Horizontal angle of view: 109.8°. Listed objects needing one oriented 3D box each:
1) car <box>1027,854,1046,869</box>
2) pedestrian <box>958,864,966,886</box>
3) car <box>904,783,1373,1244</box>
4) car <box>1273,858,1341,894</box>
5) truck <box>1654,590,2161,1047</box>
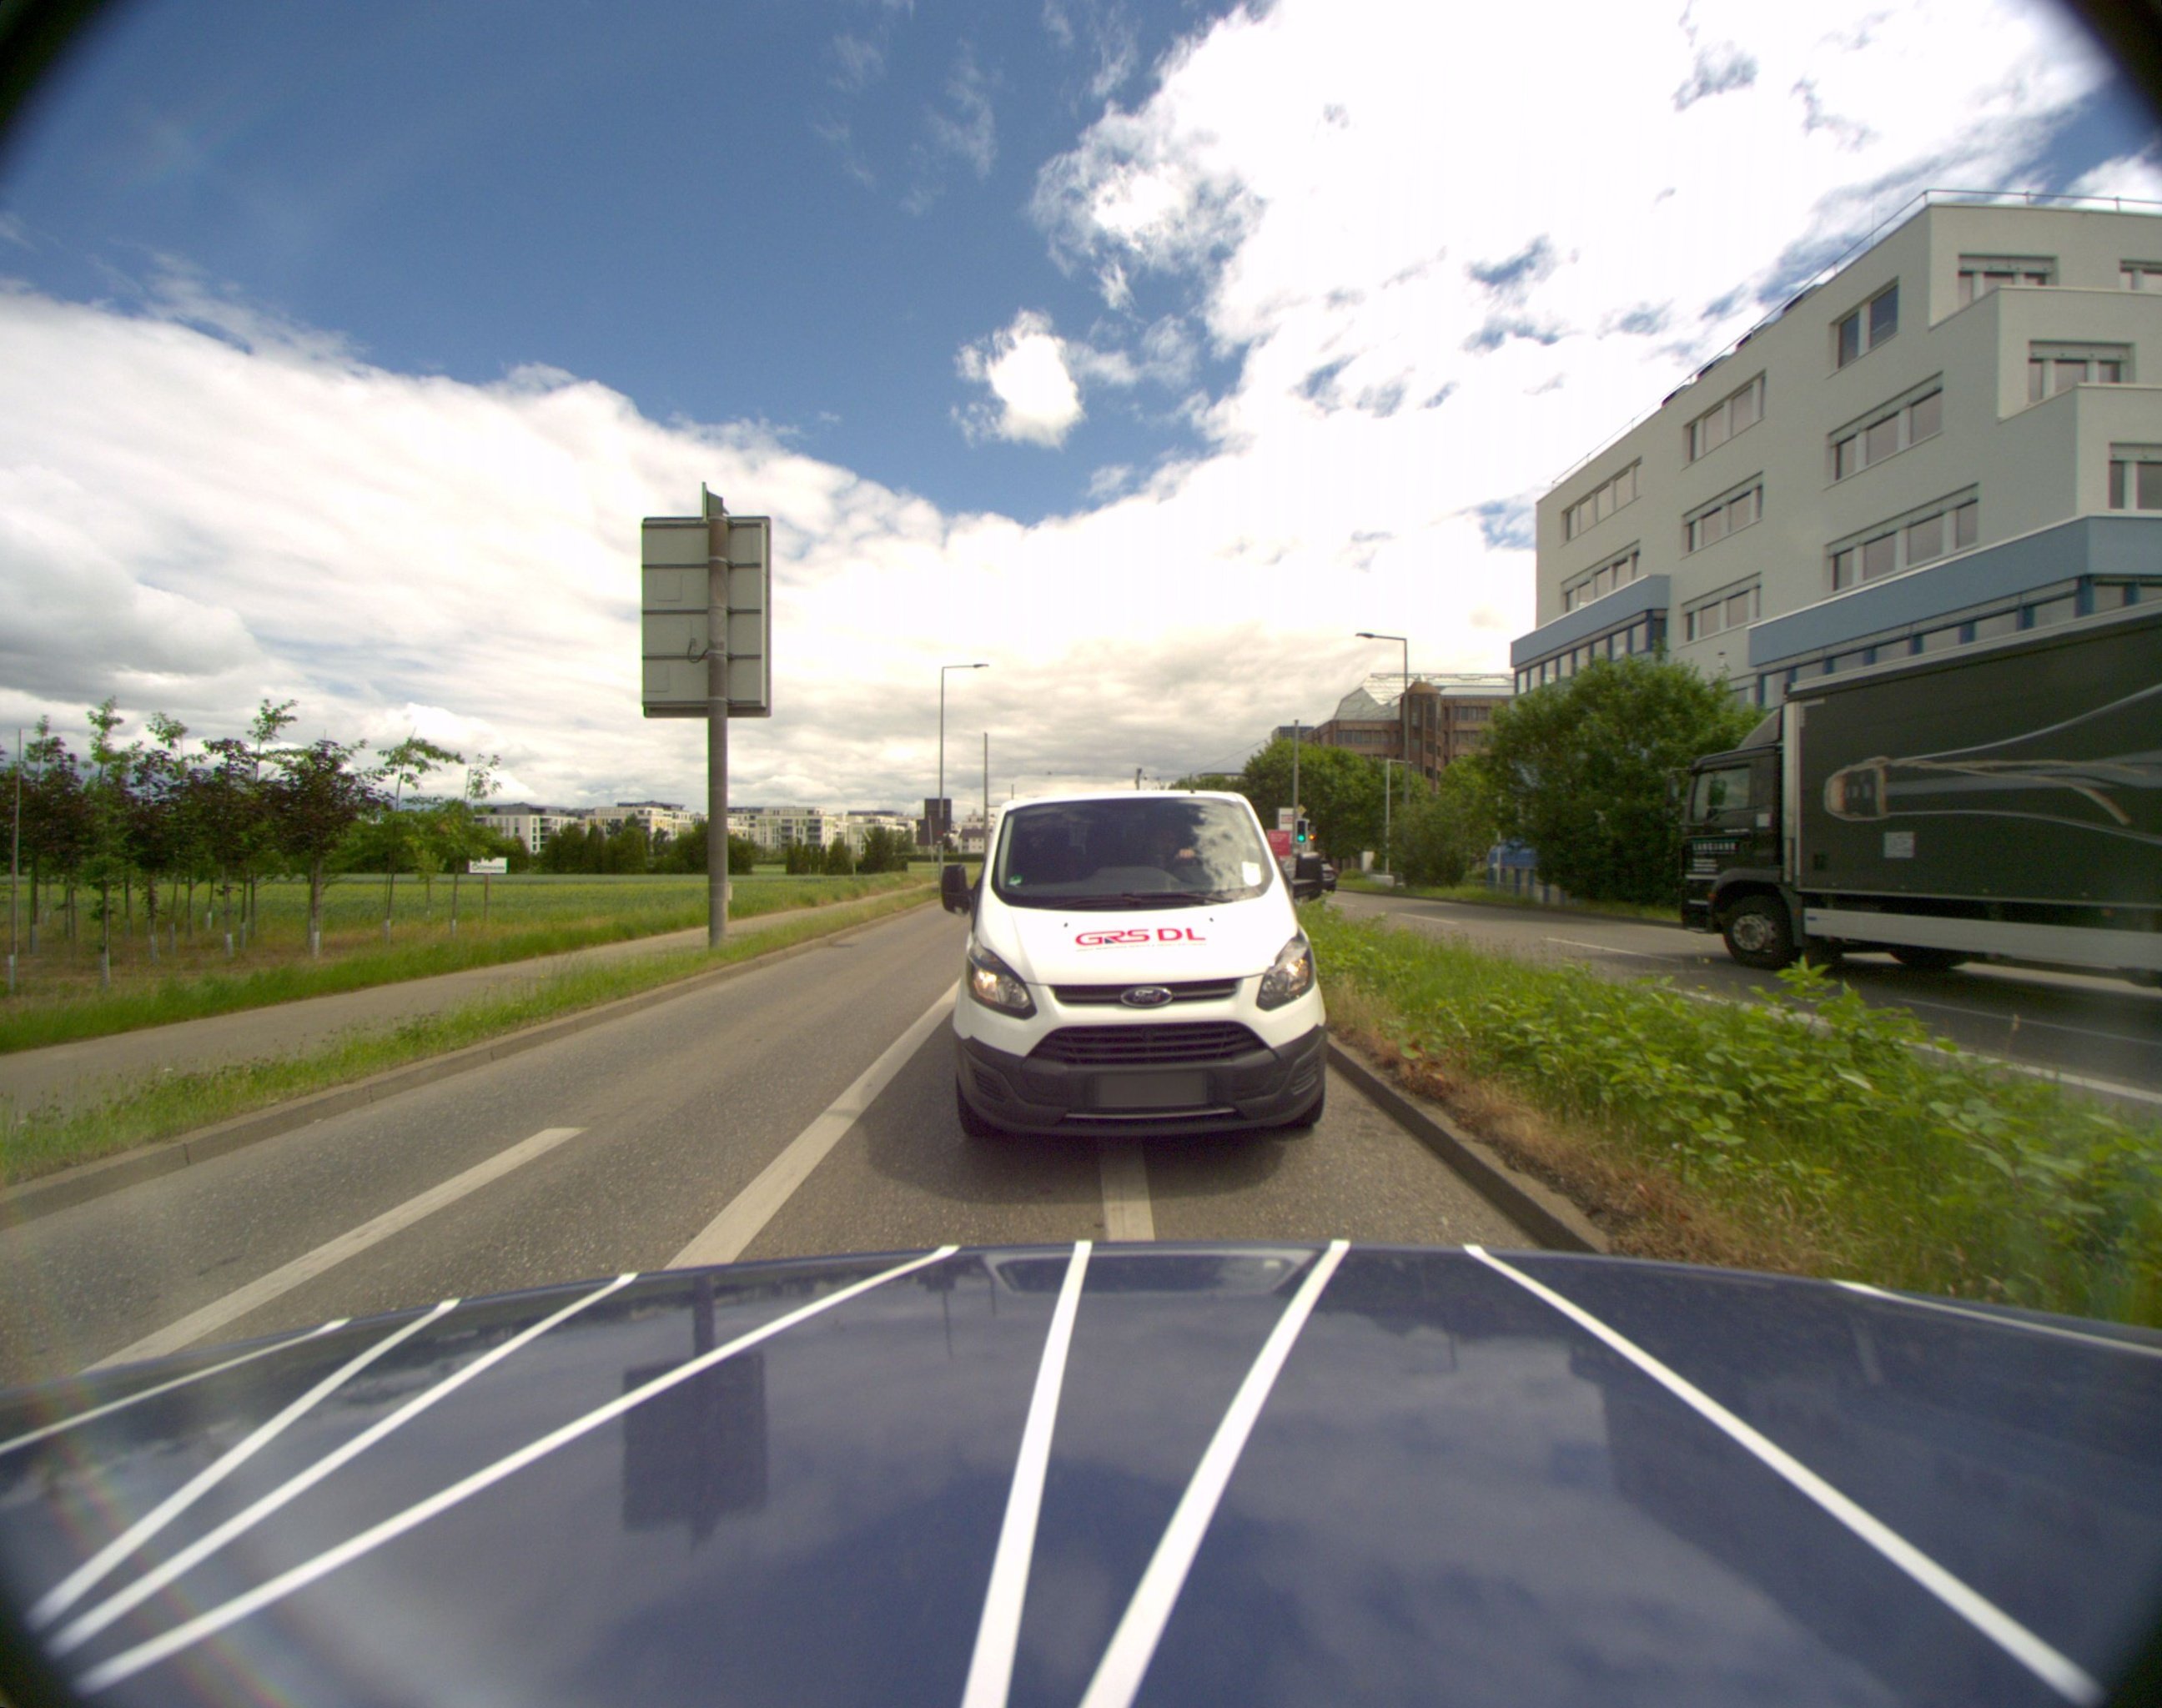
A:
[{"bbox_3d":[-4.430,0.713,75.629,1.683,1.410,3.739,-1,1,-1],"label":"car"},{"bbox_3d":[-9.507,1.657,60.906,0.492,1.693,0.626,-2,1,-1],"label":"pedestrian"},{"bbox_3d":[0.285,0.689,5.799,1.968,1.938,5.055,-2,0,1],"label":"car"},{"bbox_3d":[9.224,0.856,31.280,1.558,1.375,3.779,-1,0,-1],"label":"car"},{"bbox_3d":[9.857,-0.288,6.051,3.176,3.497,9.525,-1,0,-2],"label":"truck"}]
